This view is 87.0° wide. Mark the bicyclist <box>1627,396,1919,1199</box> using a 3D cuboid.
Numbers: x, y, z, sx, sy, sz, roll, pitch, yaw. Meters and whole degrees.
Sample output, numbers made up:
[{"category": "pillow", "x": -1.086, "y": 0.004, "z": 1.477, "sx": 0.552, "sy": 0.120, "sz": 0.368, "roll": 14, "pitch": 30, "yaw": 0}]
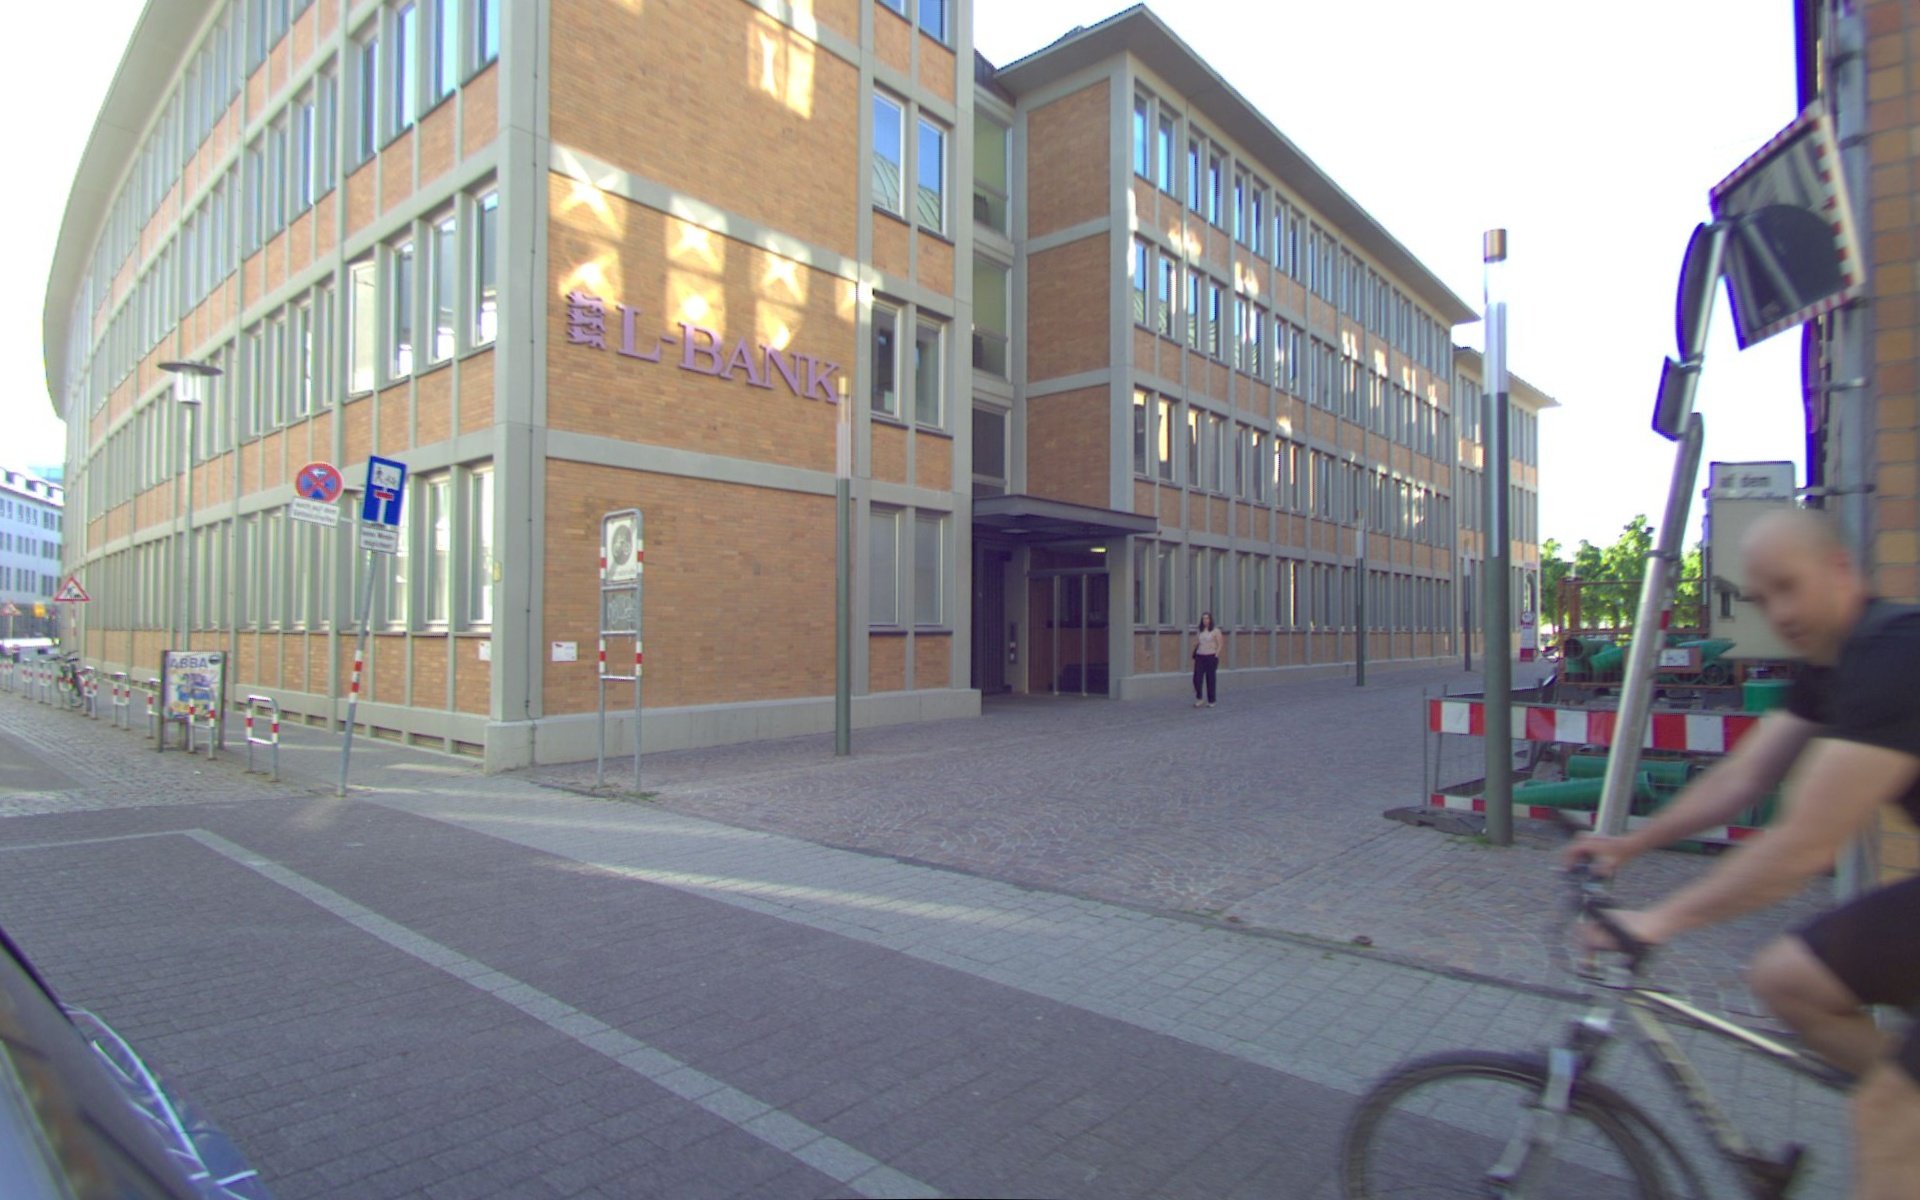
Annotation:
[{"category": "bicyclist", "x": 1.710, "y": 0.542, "z": 1.642, "sx": 0.654, "sy": 1.655, "sz": 0.926, "roll": 7, "pitch": -6, "yaw": -43}]

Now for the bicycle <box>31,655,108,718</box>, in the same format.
[{"category": "bicycle", "x": -16.209, "y": 1.547, "z": 18.419, "sx": 1.818, "sy": 1.062, "sz": 0.620, "roll": -1, "pitch": -2, "yaw": 35}]

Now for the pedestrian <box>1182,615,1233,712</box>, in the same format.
[{"category": "pedestrian", "x": 4.674, "y": 1.180, "z": 19.086, "sx": 0.693, "sy": 1.793, "sz": 0.688, "roll": -2, "pitch": -2, "yaw": 40}]

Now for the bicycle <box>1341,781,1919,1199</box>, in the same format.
[{"category": "bicycle", "x": 1.619, "y": 0.984, "z": 1.687, "sx": 0.643, "sy": 1.140, "sz": 1.737, "roll": 7, "pitch": -6, "yaw": -42}]

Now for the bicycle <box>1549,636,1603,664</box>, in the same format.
[{"category": "bicycle", "x": 28.555, "y": 2.331, "z": 46.948, "sx": 2.044, "sy": 1.270, "sz": 0.724, "roll": 0, "pitch": -2, "yaw": -1}]
